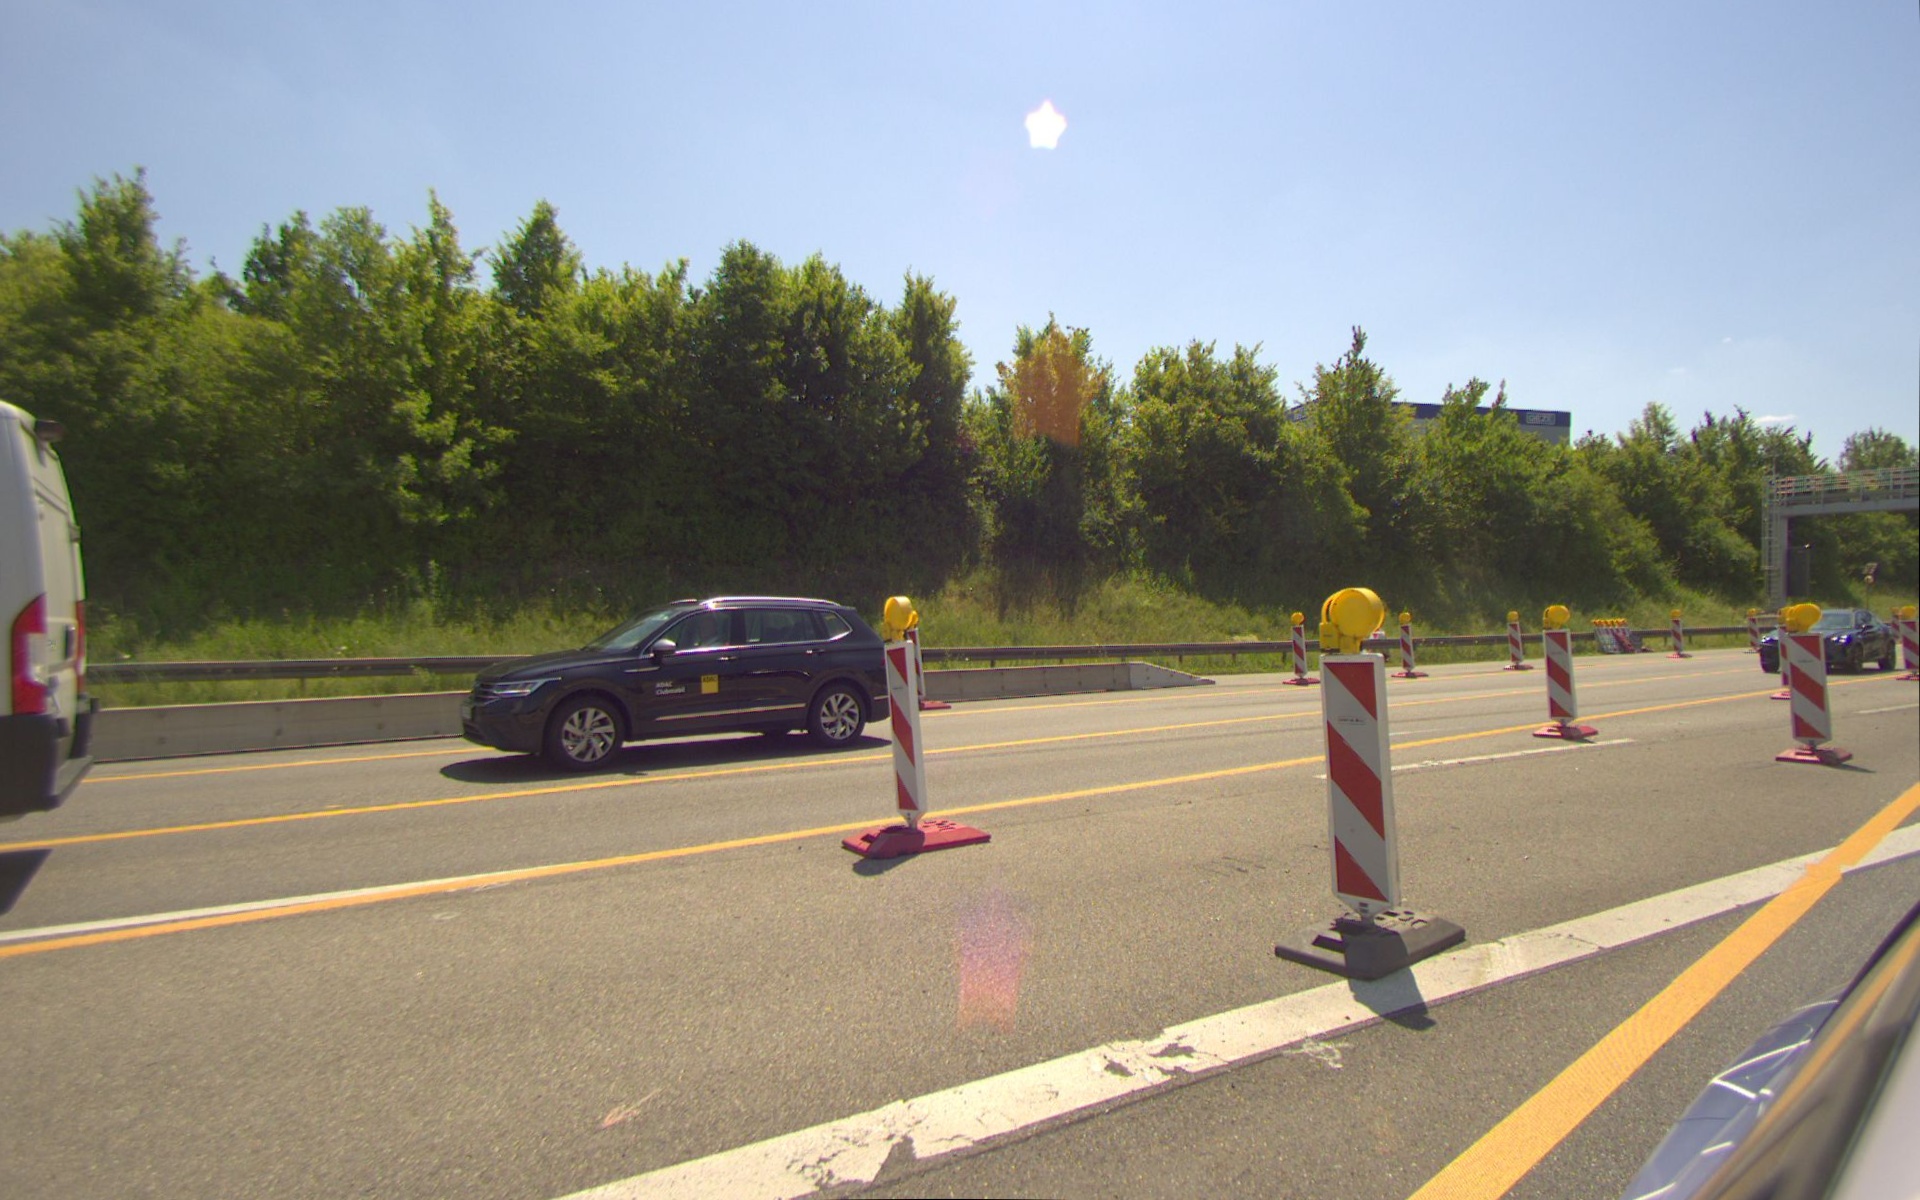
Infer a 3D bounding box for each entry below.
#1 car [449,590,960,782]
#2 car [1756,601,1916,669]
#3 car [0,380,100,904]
[{"bbox_3d":[-2.657,0.752,11.243,5.139,1.684,2.025,0,0,-37],"label":"car"},{"bbox_3d":[21.467,0.794,24.748,4.590,1.505,1.999,0,-1,-37],"label":"car"},{"bbox_3d":[-7.760,0.216,4.032,6.463,2.568,2.271,0,0,-38],"label":"car"}]
